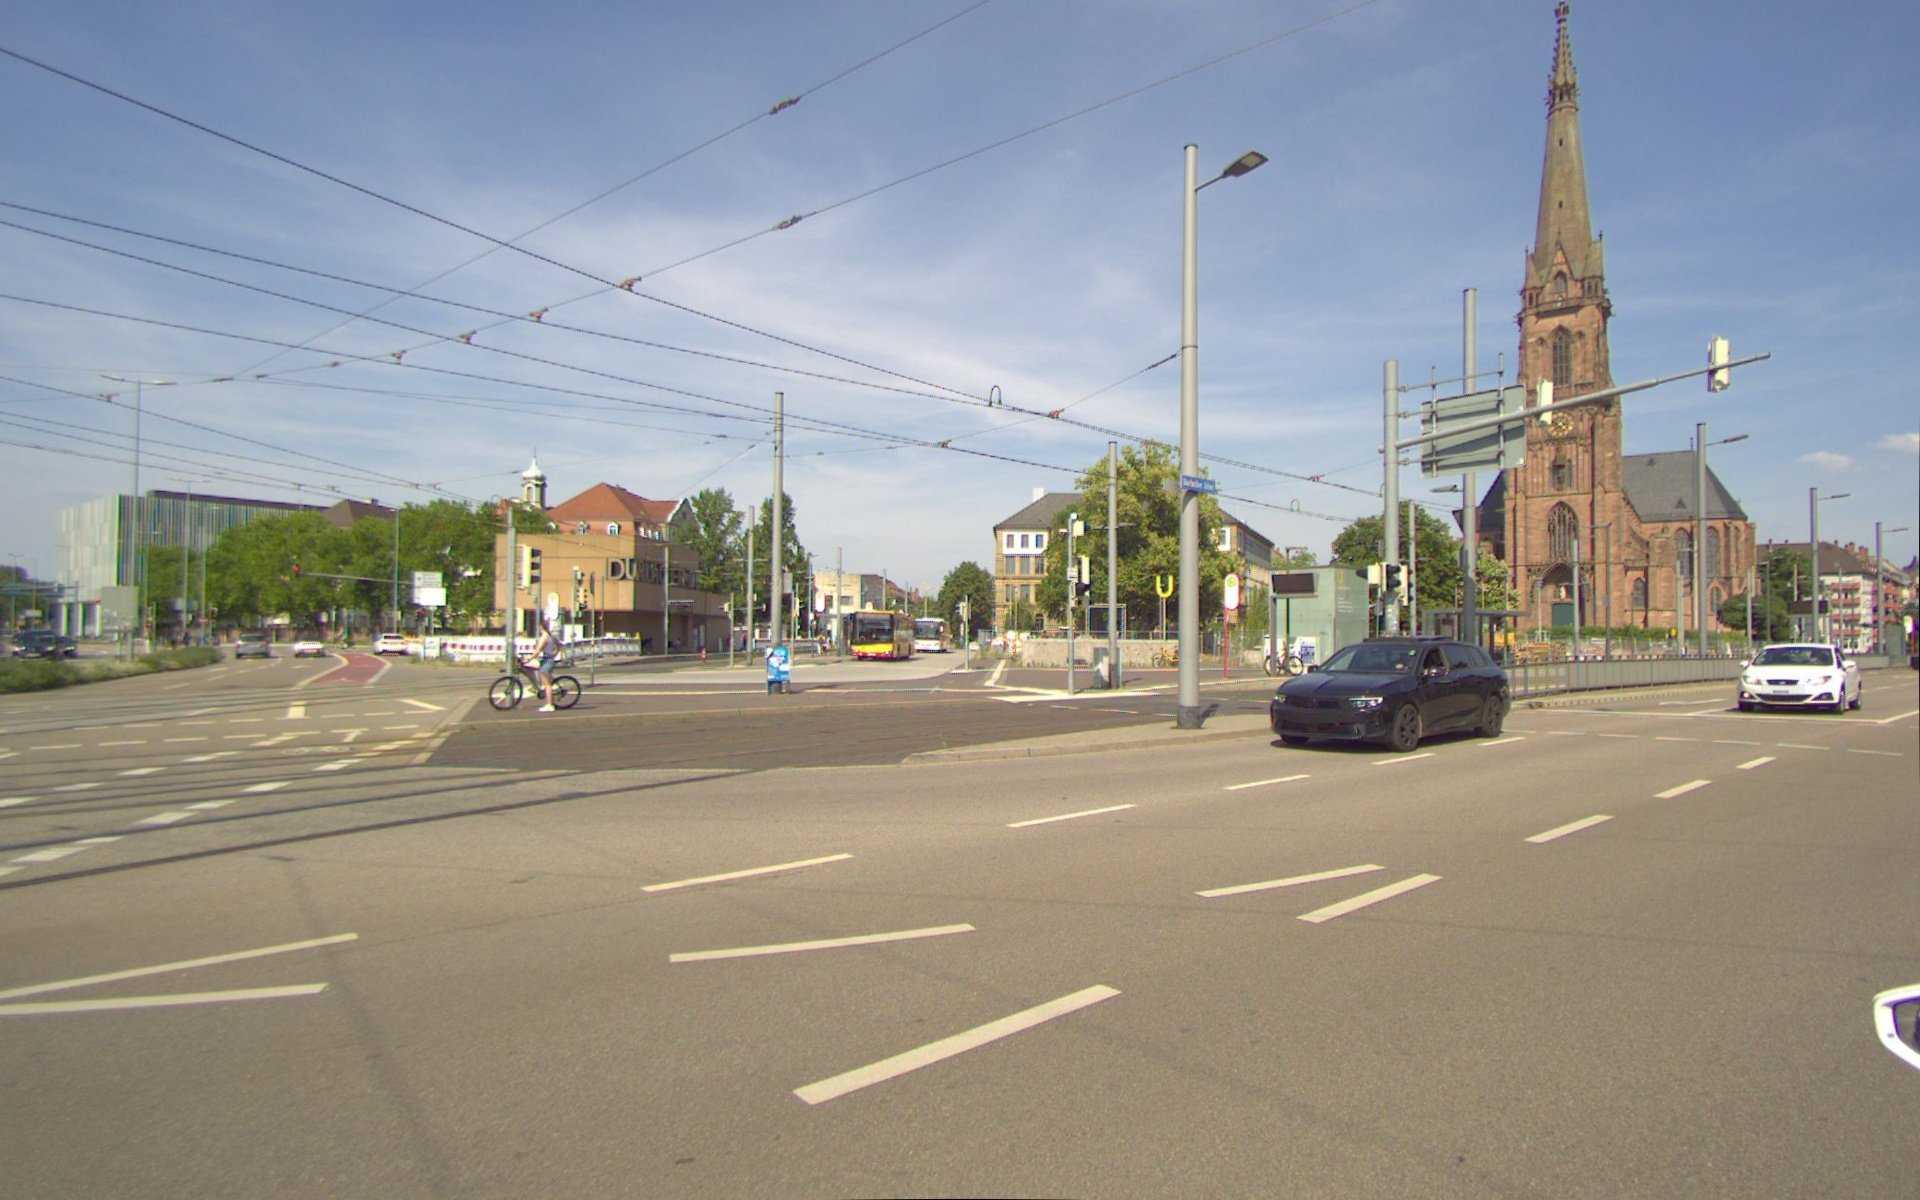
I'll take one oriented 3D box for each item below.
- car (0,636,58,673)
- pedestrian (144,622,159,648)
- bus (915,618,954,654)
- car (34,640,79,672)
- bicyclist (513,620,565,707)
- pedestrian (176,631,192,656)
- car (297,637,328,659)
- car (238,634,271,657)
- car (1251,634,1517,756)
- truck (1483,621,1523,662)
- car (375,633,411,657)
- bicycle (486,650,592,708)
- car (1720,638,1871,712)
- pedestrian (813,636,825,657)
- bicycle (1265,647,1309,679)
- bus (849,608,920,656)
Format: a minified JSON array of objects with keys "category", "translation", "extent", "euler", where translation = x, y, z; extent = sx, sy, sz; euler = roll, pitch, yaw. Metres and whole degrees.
[{"category":"car","translation":[-48.399,2.801,52.207],"extent":[1.948,1.817,3.956],"euler":[2,-3,-38]},{"category":"pedestrian","translation":[-54.326,2.352,67.493],"extent":[0.534,1.695,0.748],"euler":[1,-2,-22]},{"category":"bus","translation":[-2.471,3.578,100.305],"extent":[2.703,3.366,11.797],"euler":[0,-2,4]},{"category":"car","translation":[-57.523,3.536,64.014],"extent":[1.985,1.906,4.377],"euler":[2,-3,-41]},{"category":"bicyclist","translation":[-8.443,1.274,20.148],"extent":[0.769,1.706,0.744],"euler":[3,-3,-34]},{"category":"pedestrian","translation":[-53.008,2.995,68.642],"extent":[0.635,1.695,0.748],"euler":[1,-2,-23]},{"category":"car","translation":[-41.141,3.034,63.773],"extent":[1.583,1.304,3.962],"euler":[-1,-1,-34]},{"category":"car","translation":[-44.103,2.827,62.831],"extent":[1.583,1.304,3.962],"euler":[-1,-1,-34]},{"category":"car","translation":[6.142,1.245,14.313],"extent":[4.388,1.475,1.739],"euler":[2,-3,-41]},{"category":"truck","translation":[49.550,3.798,91.796],"extent":[2.973,3.616,6.036],"euler":[-1,-2,27]},{"category":"car","translation":[-38.161,3.000,67.599],"extent":[1.785,1.439,3.962],"euler":[-1,-1,-34]},{"category":"bicycle","translation":[-8.430,1.589,20.138],"extent":[1.830,1.098,0.744],"euler":[4,-3,-34]},{"category":"car","translation":[17.756,1.564,21.296],"extent":[4.092,1.416,1.740],"euler":[2,-6,-41]},{"category":"pedestrian","translation":[-9.483,3.098,67.658],"extent":[0.531,1.384,0.907],"euler":[-1,0,-23]},{"category":"bicycle","translation":[11.914,2.283,36.606],"extent":[1.639,1.085,0.412],"euler":[-1,-2,-22]},{"category":"bus","translation":[-4.611,1.906,64.147],"extent":[2.703,2.718,11.794],"euler":[-1,-1,4]}]
